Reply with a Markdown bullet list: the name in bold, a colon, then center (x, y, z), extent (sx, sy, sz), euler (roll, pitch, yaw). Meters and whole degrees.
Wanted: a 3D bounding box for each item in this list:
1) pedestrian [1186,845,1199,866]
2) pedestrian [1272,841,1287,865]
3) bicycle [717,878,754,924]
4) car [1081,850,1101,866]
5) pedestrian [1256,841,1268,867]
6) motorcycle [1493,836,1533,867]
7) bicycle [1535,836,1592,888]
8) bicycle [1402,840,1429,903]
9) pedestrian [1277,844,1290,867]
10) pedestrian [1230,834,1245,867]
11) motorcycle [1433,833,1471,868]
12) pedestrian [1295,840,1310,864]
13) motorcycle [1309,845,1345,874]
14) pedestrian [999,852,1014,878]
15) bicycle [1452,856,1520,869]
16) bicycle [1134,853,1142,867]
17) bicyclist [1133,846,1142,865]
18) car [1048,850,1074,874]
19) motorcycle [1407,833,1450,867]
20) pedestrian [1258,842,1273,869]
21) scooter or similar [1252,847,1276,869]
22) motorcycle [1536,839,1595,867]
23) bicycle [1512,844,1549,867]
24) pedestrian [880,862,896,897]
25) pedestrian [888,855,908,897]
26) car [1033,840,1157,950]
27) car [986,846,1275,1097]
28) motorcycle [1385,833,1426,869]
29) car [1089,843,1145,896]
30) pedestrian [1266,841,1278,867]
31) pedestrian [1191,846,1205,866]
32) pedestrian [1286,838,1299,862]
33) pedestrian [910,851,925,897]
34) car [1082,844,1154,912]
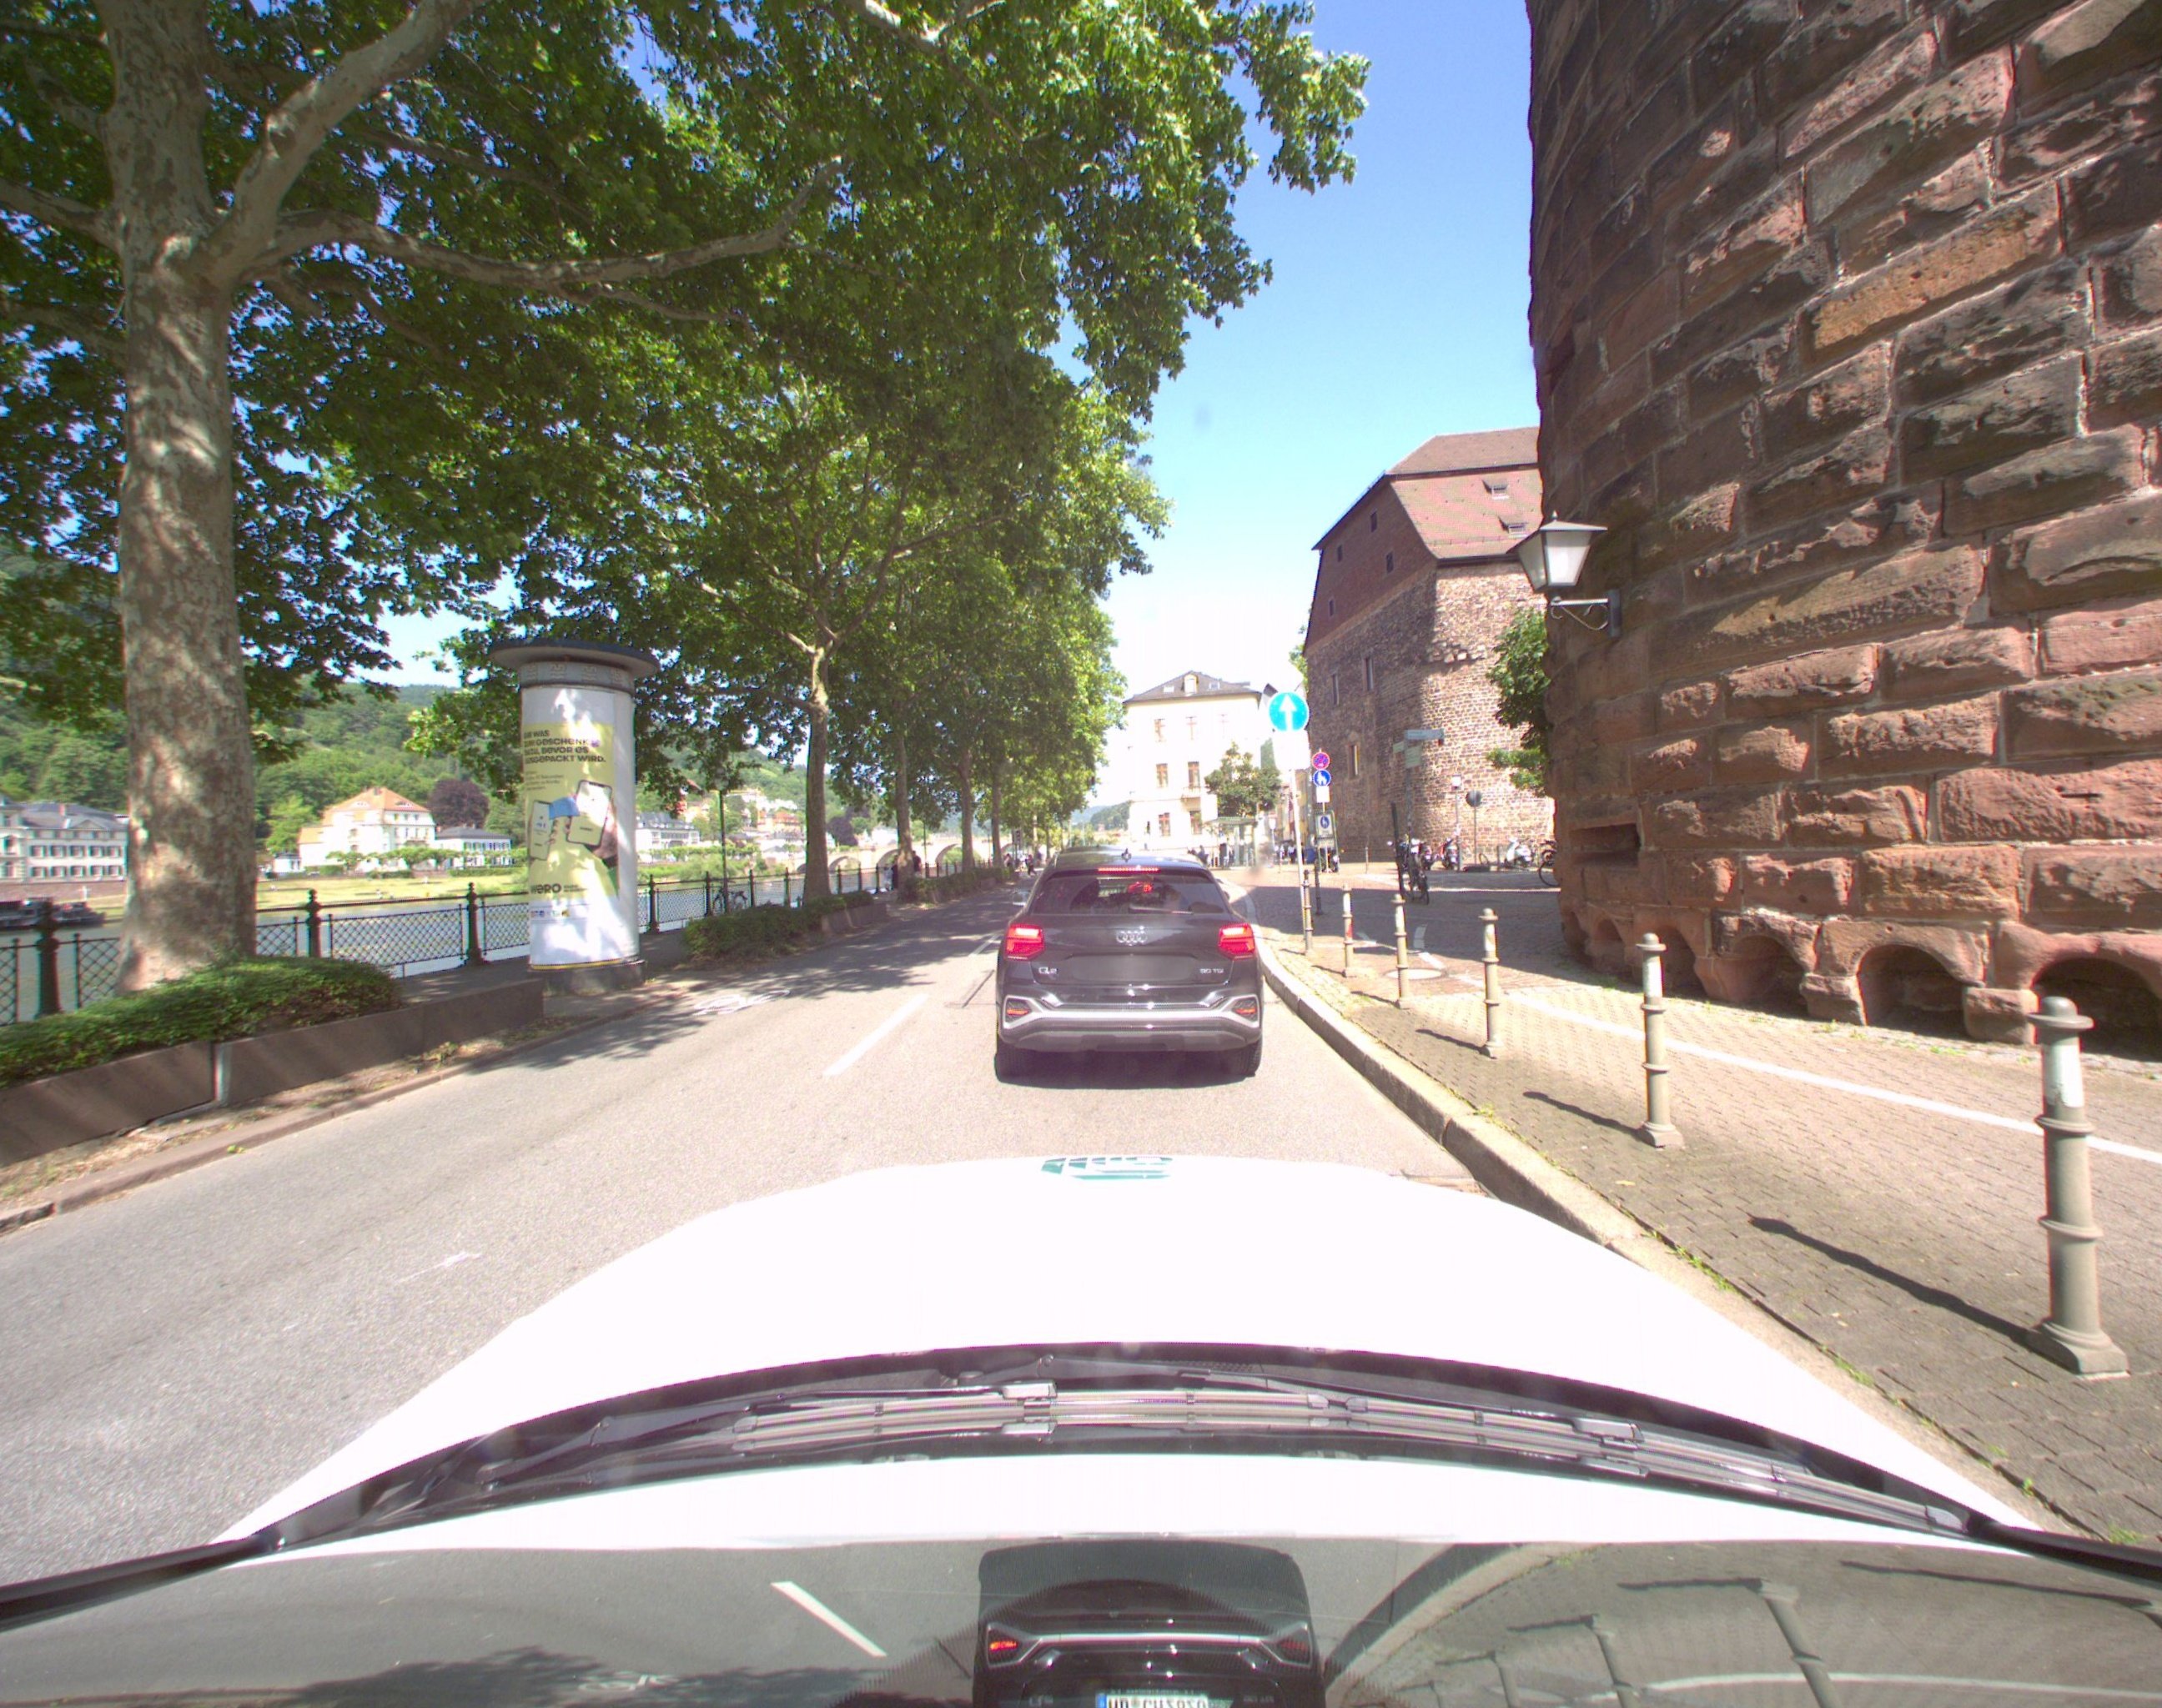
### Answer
- **pedestrian**: center (6.701, 0.095, 48.883), extent (0.662, 1.231, 0.640), euler (0, -1, -5)
- **pedestrian**: center (12.675, -0.071, 52.081), extent (0.637, 1.444, 0.797), euler (-4, 0, -5)
- **bicycle**: center (-8.889, 1.188, 20.972), extent (0.358, 1.091, 1.296), euler (1, 0, 1)
- **car**: center (1.103, 0.462, 90.697), extent (1.985, 1.806, 4.003), euler (0, -1, 3)
- **pedestrian**: center (9.449, 0.006, 42.535), extent (0.555, 1.385, 0.588), euler (-1, -1, 4)
- **motorcycle**: center (15.448, -0.080, 29.169), extent (0.505, 1.073, 1.841), euler (0, -1, 2)
- **bicycle**: center (11.528, 0.174, 19.516), extent (0.444, 1.162, 1.733), euler (-2, 0, 5)
- **bicycle**: center (6.867, 0.327, 16.744), extent (0.192, 1.203, 1.775), euler (-2, 1, 13)
- **pedestrian**: center (18.403, 0.139, 74.023), extent (0.941, 2.014, 0.808), euler (0, -1, 2)
- **pedestrian**: center (8.074, -0.197, 41.983), extent (0.650, 1.662, 0.811), euler (-3, 0, 7)
- **motorcycle**: center (13.752, -0.116, 30.222), extent (0.544, 1.235, 2.031), euler (0, -1, 2)
- **pedestrian**: center (15.250, -0.138, 56.132), extent (0.688, 1.612, 0.892), euler (-4, 0, 1)
- **motorcycle**: center (9.057, 0.176, 30.054), extent (0.564, 1.012, 2.490), euler (-2, 0, 1)
- **pedestrian**: center (-5.111, 0.747, 55.984), extent (0.906, 1.811, 0.586), euler (-1, -1, 6)
- **bicycle**: center (13.579, 0.284, 27.354), extent (1.914, 0.381, 0.921), euler (-2, -1, 16)
- **bicycle**: center (4.360, 0.454, 62.536), extent (0.436, 1.086, 1.675), euler (0, -1, -2)
- **bicyclist**: center (4.369, 0.119, 62.593), extent (0.604, 1.450, 0.590), euler (0, -1, -3)
- **car**: center (-1.475, 0.591, 62.958), extent (1.667, 1.660, 4.224), euler (-5, 0, 1)
- **motorcycle**: center (12.874, -0.129, 30.231), extent (0.672, 1.235, 2.313), euler (0, -1, 2)
- **pedestrian**: center (14.280, 0.122, 62.964), extent (0.938, 2.014, 0.806), euler (0, -1, -5)
- **scooter or similar**: center (8.827, 0.204, 39.307), extent (1.085, 1.066, 0.323), euler (0, -1, -1)
- **motorcycle**: center (18.302, -0.037, 30.781), extent (1.854, 1.054, 0.481), euler (-1, -1, 9)
- **bicycle**: center (16.627, 0.051, 30.154), extent (0.352, 0.820, 1.926), euler (0, 1, 1)
- **pedestrian**: center (-7.557, 0.991, 31.923), extent (0.476, 1.362, 0.418), euler (0, 0, 5)
- **pedestrian**: center (-7.545, 0.911, 33.574), extent (0.599, 1.685, 0.583), euler (-3, 0, 0)
- **car**: center (0.258, 0.598, 13.588), extent (1.786, 1.595, 3.400), euler (0, 0, 2)
- **car**: center (0.357, 0.699, 6.736), extent (1.736, 1.509, 3.649), euler (0, 0, 2)
- **motorcycle**: center (11.899, -0.090, 29.929), extent (0.653, 1.266, 2.201), euler (-2, -1, 2)
- **car**: center (1.219, 0.500, 28.377), extent (1.788, 1.682, 4.002), euler (-1, 0, 2)
- **pedestrian**: center (17.306, -0.009, 73.803), extent (0.876, 2.358, 0.745), euler (0, -1, 1)
- **pedestrian**: center (6.929, 0.113, 48.182), extent (0.662, 1.211, 0.640), euler (0, -1, -5)
- **pedestrian**: center (14.614, -0.252, 56.193), extent (0.605, 1.619, 0.711), euler (-4, -1, 1)
- **pedestrian**: center (-6.718, 0.805, 33.463), extent (0.532, 1.887, 0.437), euler (0, 0, 1)
- **car**: center (0.951, 0.573, 21.620), extent (1.704, 1.609, 3.656), euler (-1, 0, 2)
